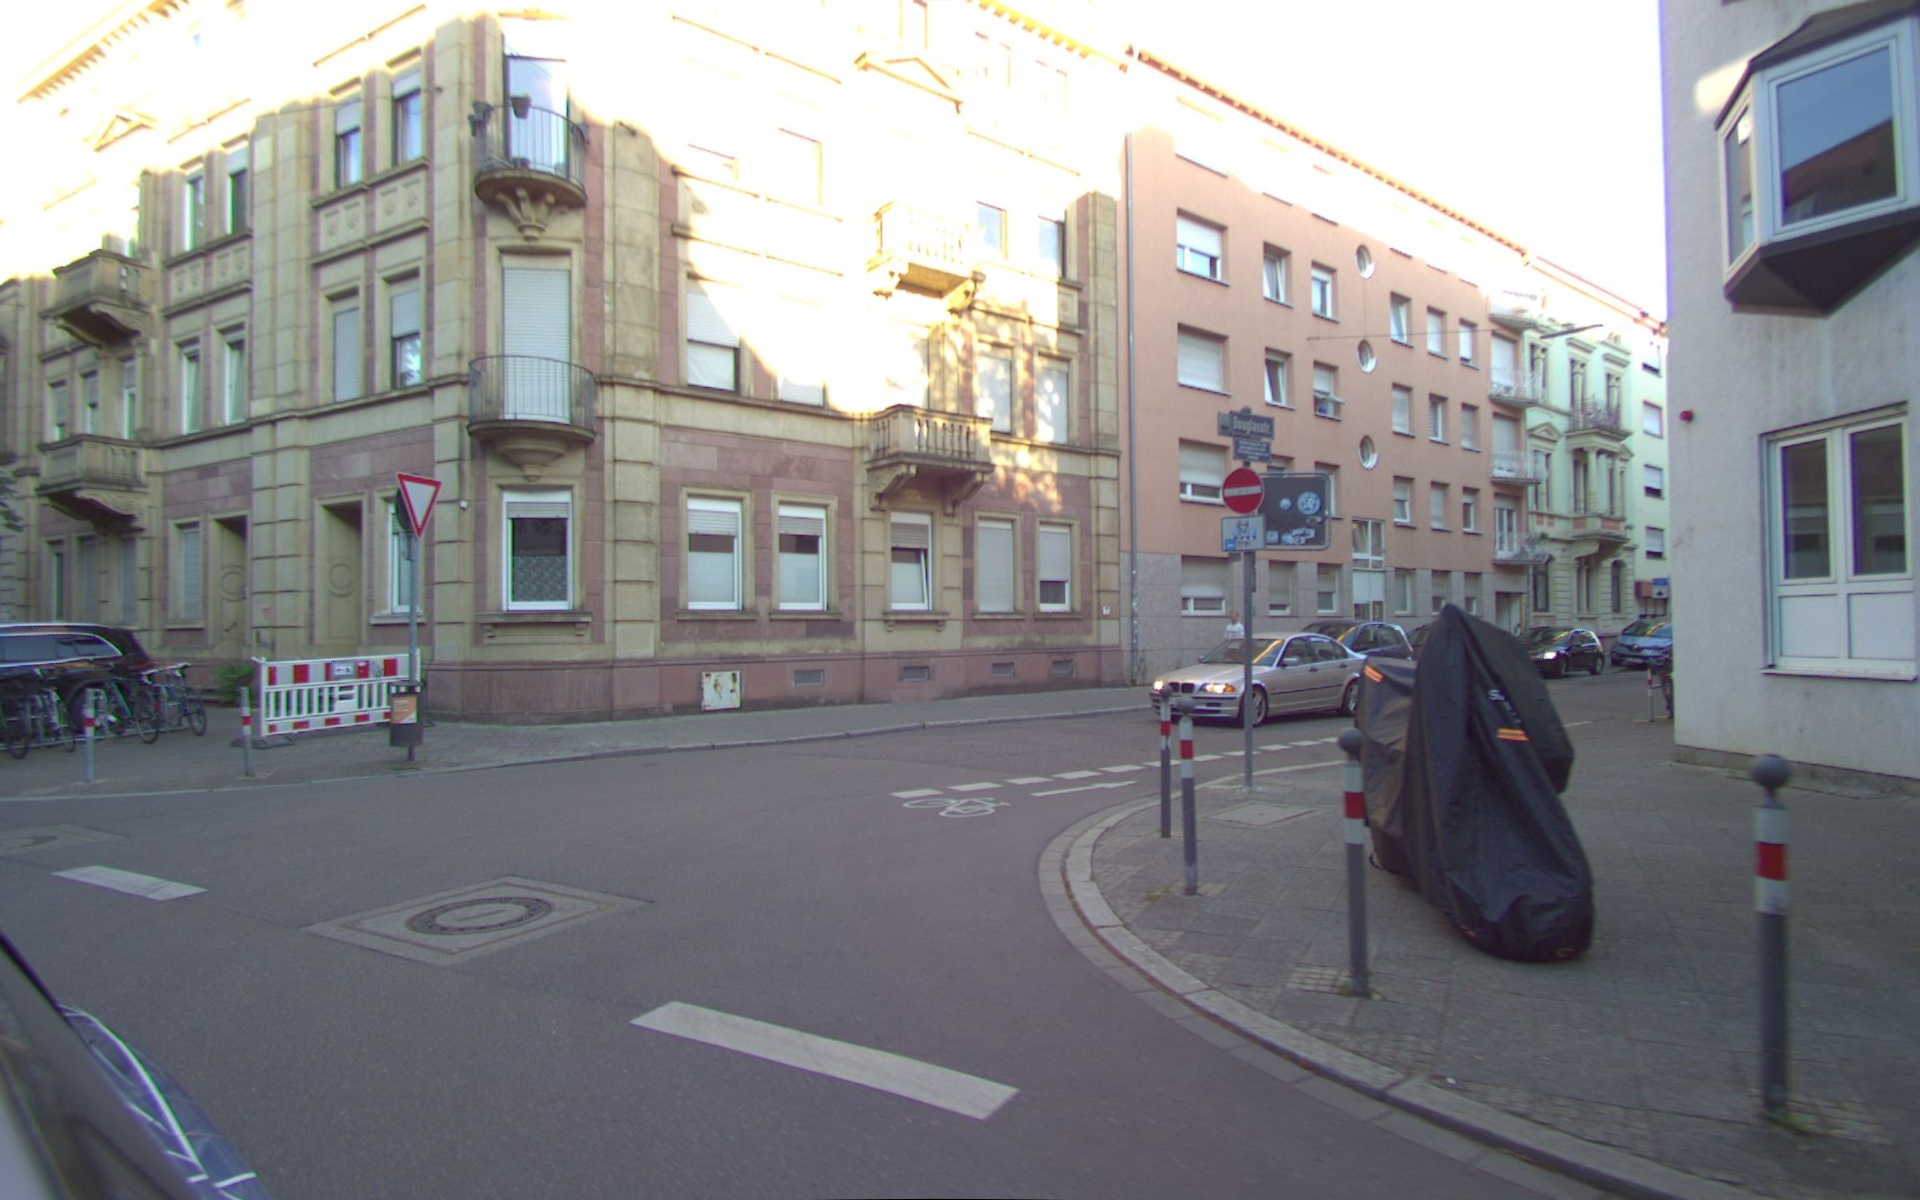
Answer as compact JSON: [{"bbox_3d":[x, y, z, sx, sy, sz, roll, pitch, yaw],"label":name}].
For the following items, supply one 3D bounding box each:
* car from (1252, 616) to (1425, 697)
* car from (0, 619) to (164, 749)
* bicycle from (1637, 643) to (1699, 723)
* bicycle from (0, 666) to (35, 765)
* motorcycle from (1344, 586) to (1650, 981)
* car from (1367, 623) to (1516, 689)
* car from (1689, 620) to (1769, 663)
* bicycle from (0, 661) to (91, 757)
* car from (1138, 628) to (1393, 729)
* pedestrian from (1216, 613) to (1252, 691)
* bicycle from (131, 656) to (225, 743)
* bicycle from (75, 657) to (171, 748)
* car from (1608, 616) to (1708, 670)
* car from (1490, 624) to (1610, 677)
[{"bbox_3d":[8.440,1.212,22.438,3.988,1.637,1.698,1,-3,-37],"label":"car"},{"bbox_3d":[-14.187,1.190,14.114,1.770,1.751,4.544,-1,0,30],"label":"car"},{"bbox_3d":[10.594,1.208,15.116,1.786,1.111,0.402,2,-4,-45],"label":"bicycle"},{"bbox_3d":[-11.833,1.366,12.278,1.863,1.097,0.361,-1,0,31],"label":"bicycle"},{"bbox_3d":[2.563,0.766,5.161,0.662,1.567,2.156,-1,-2,9],"label":"motorcycle"},{"bbox_3d":[12.193,1.374,25.538,4.214,1.525,1.698,1,-3,-39],"label":"car"},{"bbox_3d":[29.525,1.577,38.845,3.532,1.591,1.578,1,-3,-39],"label":"car"},{"bbox_3d":[-11.715,1.363,12.915,1.863,1.097,0.361,-1,0,31],"label":"bicycle"},{"bbox_3d":[5.018,1.197,16.337,4.399,1.414,1.685,1,-4,-38],"label":"car"},{"bbox_3d":[6.274,1.187,23.160,0.559,1.757,0.552,2,-3,-39],"label":"pedestrian"},{"bbox_3d":[-10.840,1.346,14.010,1.863,1.097,0.361,-1,0,31],"label":"bicycle"},{"bbox_3d":[-11.142,1.331,13.456,1.863,1.097,0.361,-1,0,31],"label":"bicycle"},{"bbox_3d":[24.090,1.463,34.870,4.043,1.755,1.698,1,-3,-39],"label":"car"},{"bbox_3d":[17.555,1.458,30.066,4.065,1.469,1.698,1,-3,-39],"label":"car"}]
